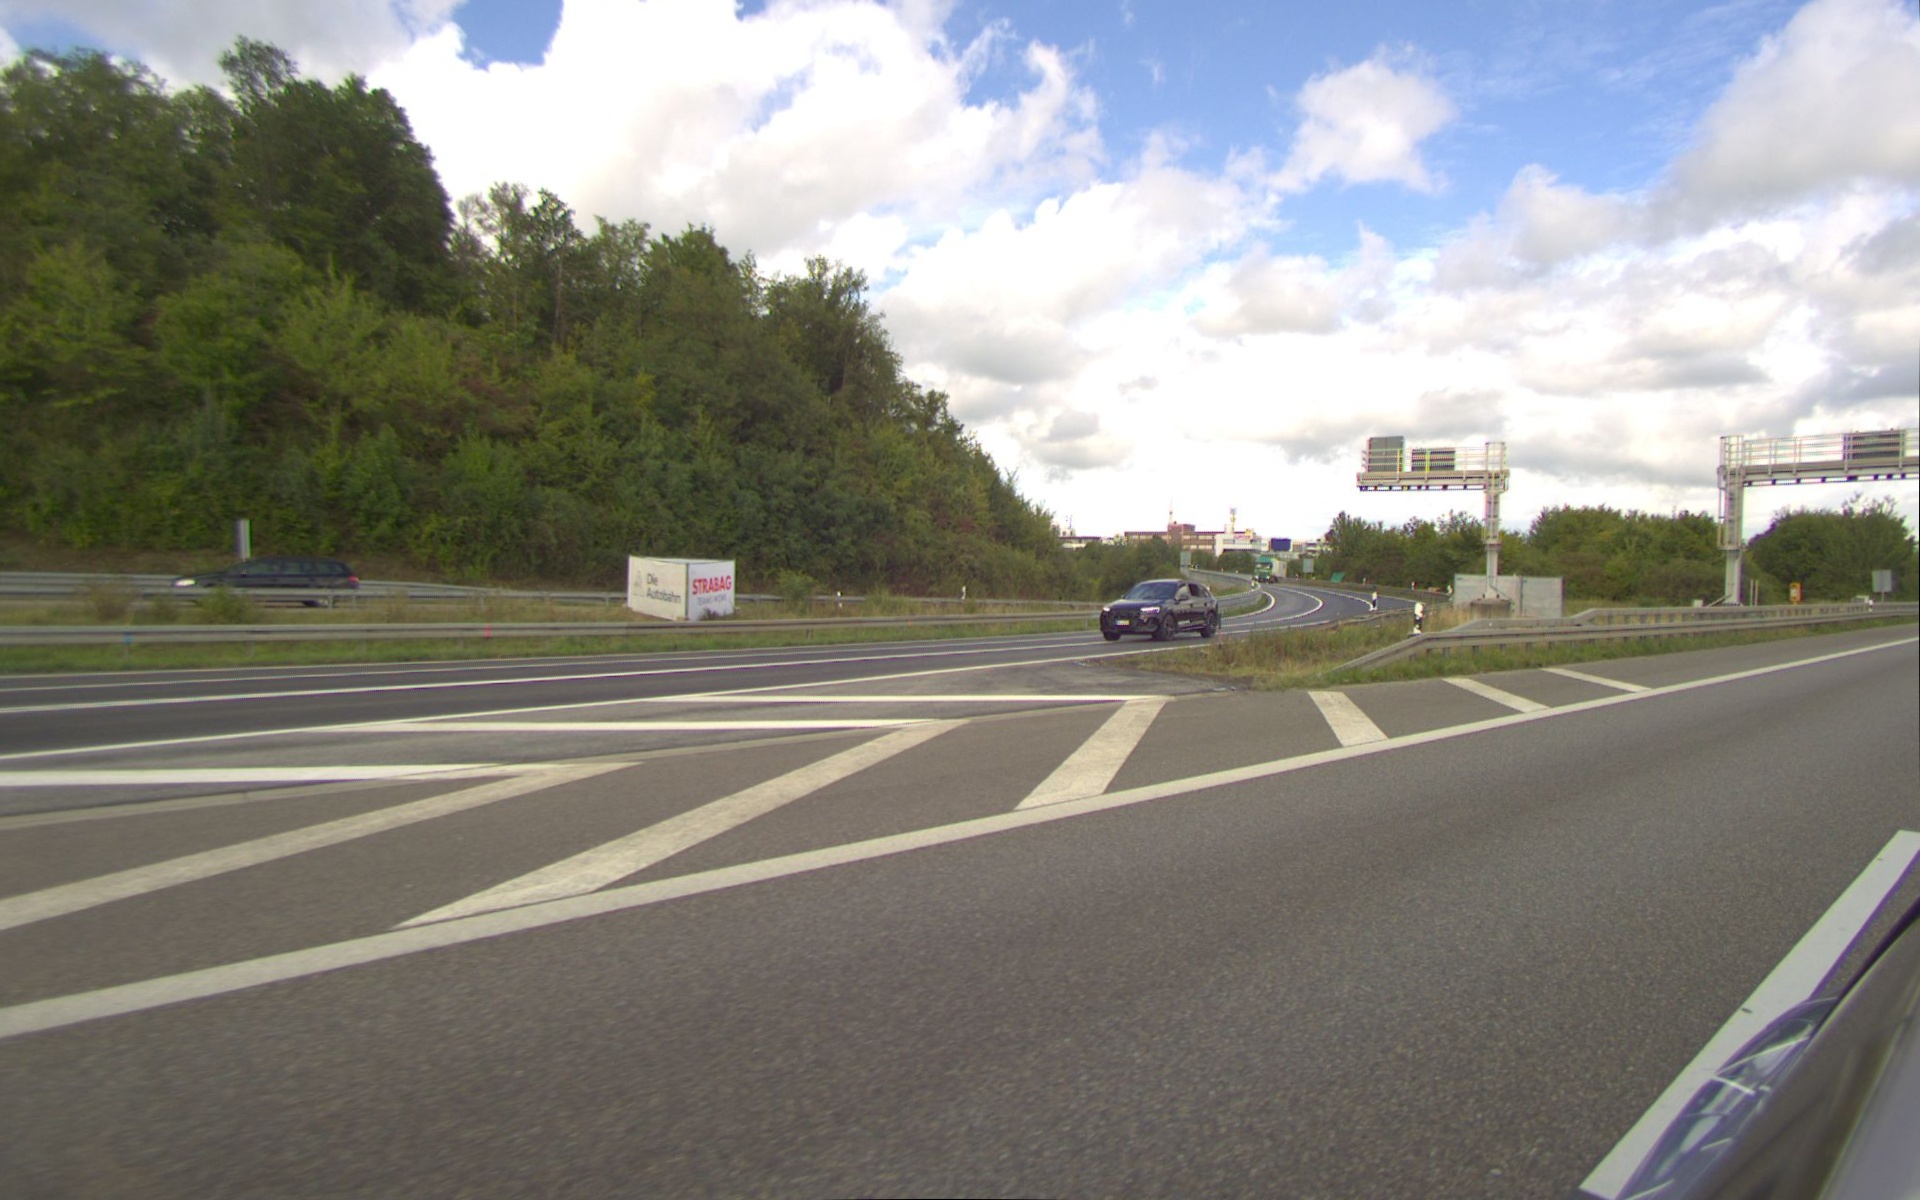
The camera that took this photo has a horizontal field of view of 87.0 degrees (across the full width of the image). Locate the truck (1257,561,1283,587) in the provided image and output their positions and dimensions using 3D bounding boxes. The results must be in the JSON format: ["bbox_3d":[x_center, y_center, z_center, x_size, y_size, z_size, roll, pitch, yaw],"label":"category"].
[{"bbox_3d":[48.952,-4.036,159.718,2.935,3.845,13.365,1,1,21],"label":"truck"}]

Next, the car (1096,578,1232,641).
[{"bbox_3d":[5.973,0.206,29.244,1.868,1.656,4.791,1,1,39],"label":"car"}]

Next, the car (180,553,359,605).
[{"bbox_3d":[-20.272,-0.602,29.817,1.712,1.433,4.102,2,2,44],"label":"car"}]
